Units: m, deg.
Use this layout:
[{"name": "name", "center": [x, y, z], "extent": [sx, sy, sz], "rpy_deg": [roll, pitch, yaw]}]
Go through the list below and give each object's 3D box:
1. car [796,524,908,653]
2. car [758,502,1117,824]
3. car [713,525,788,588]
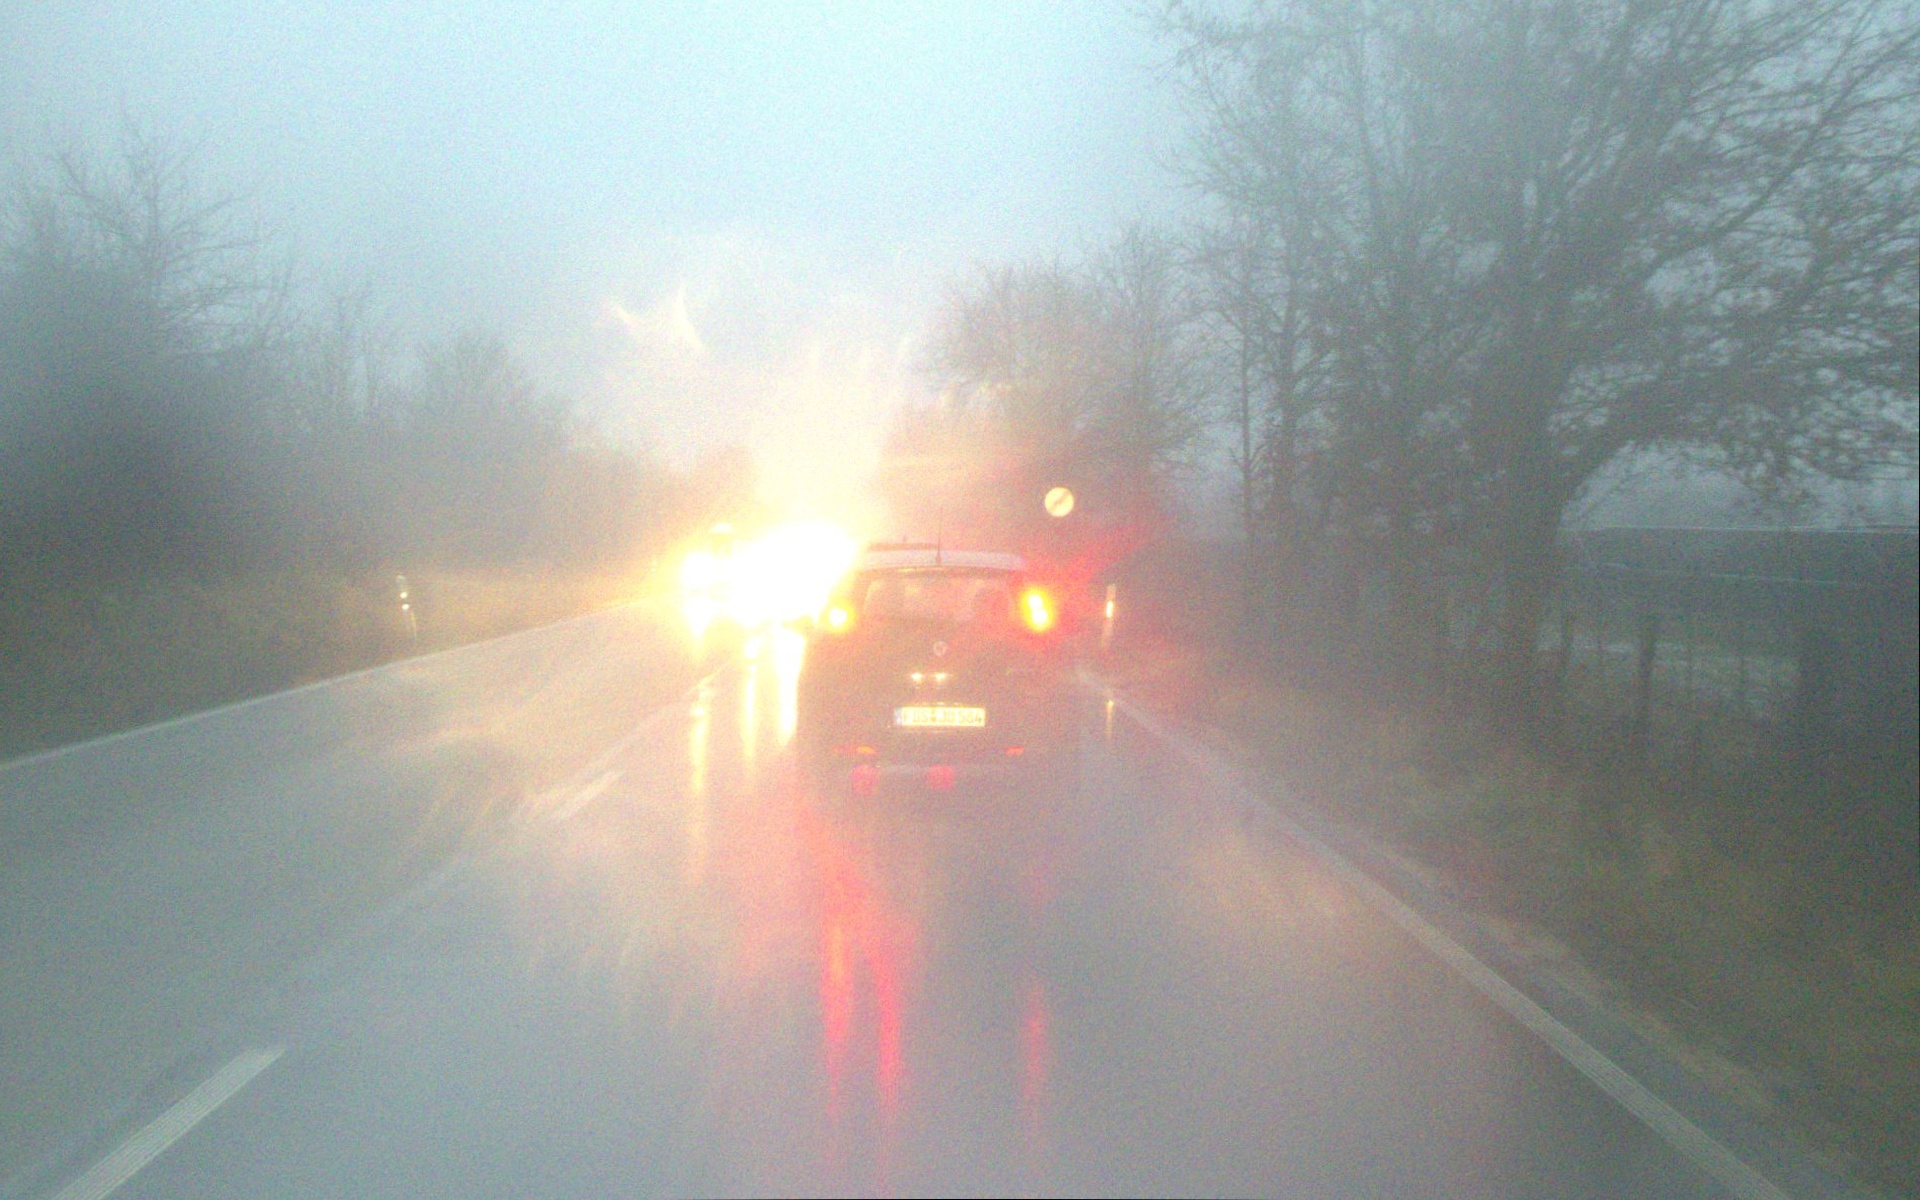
[{"name": "car", "center": [-1.624, -0.192, 52.629], "extent": [1.574, 1.868, 3.709], "rpy_deg": [1, 1, 0]}, {"name": "car", "center": [-0.135, 0.326, 21.459], "extent": [1.993, 1.778, 4.000], "rpy_deg": [1, 1, 0]}, {"name": "car", "center": [-5.287, -1.096, 87.088], "extent": [1.691, 1.525, 4.086], "rpy_deg": [1, 1, -1]}]
